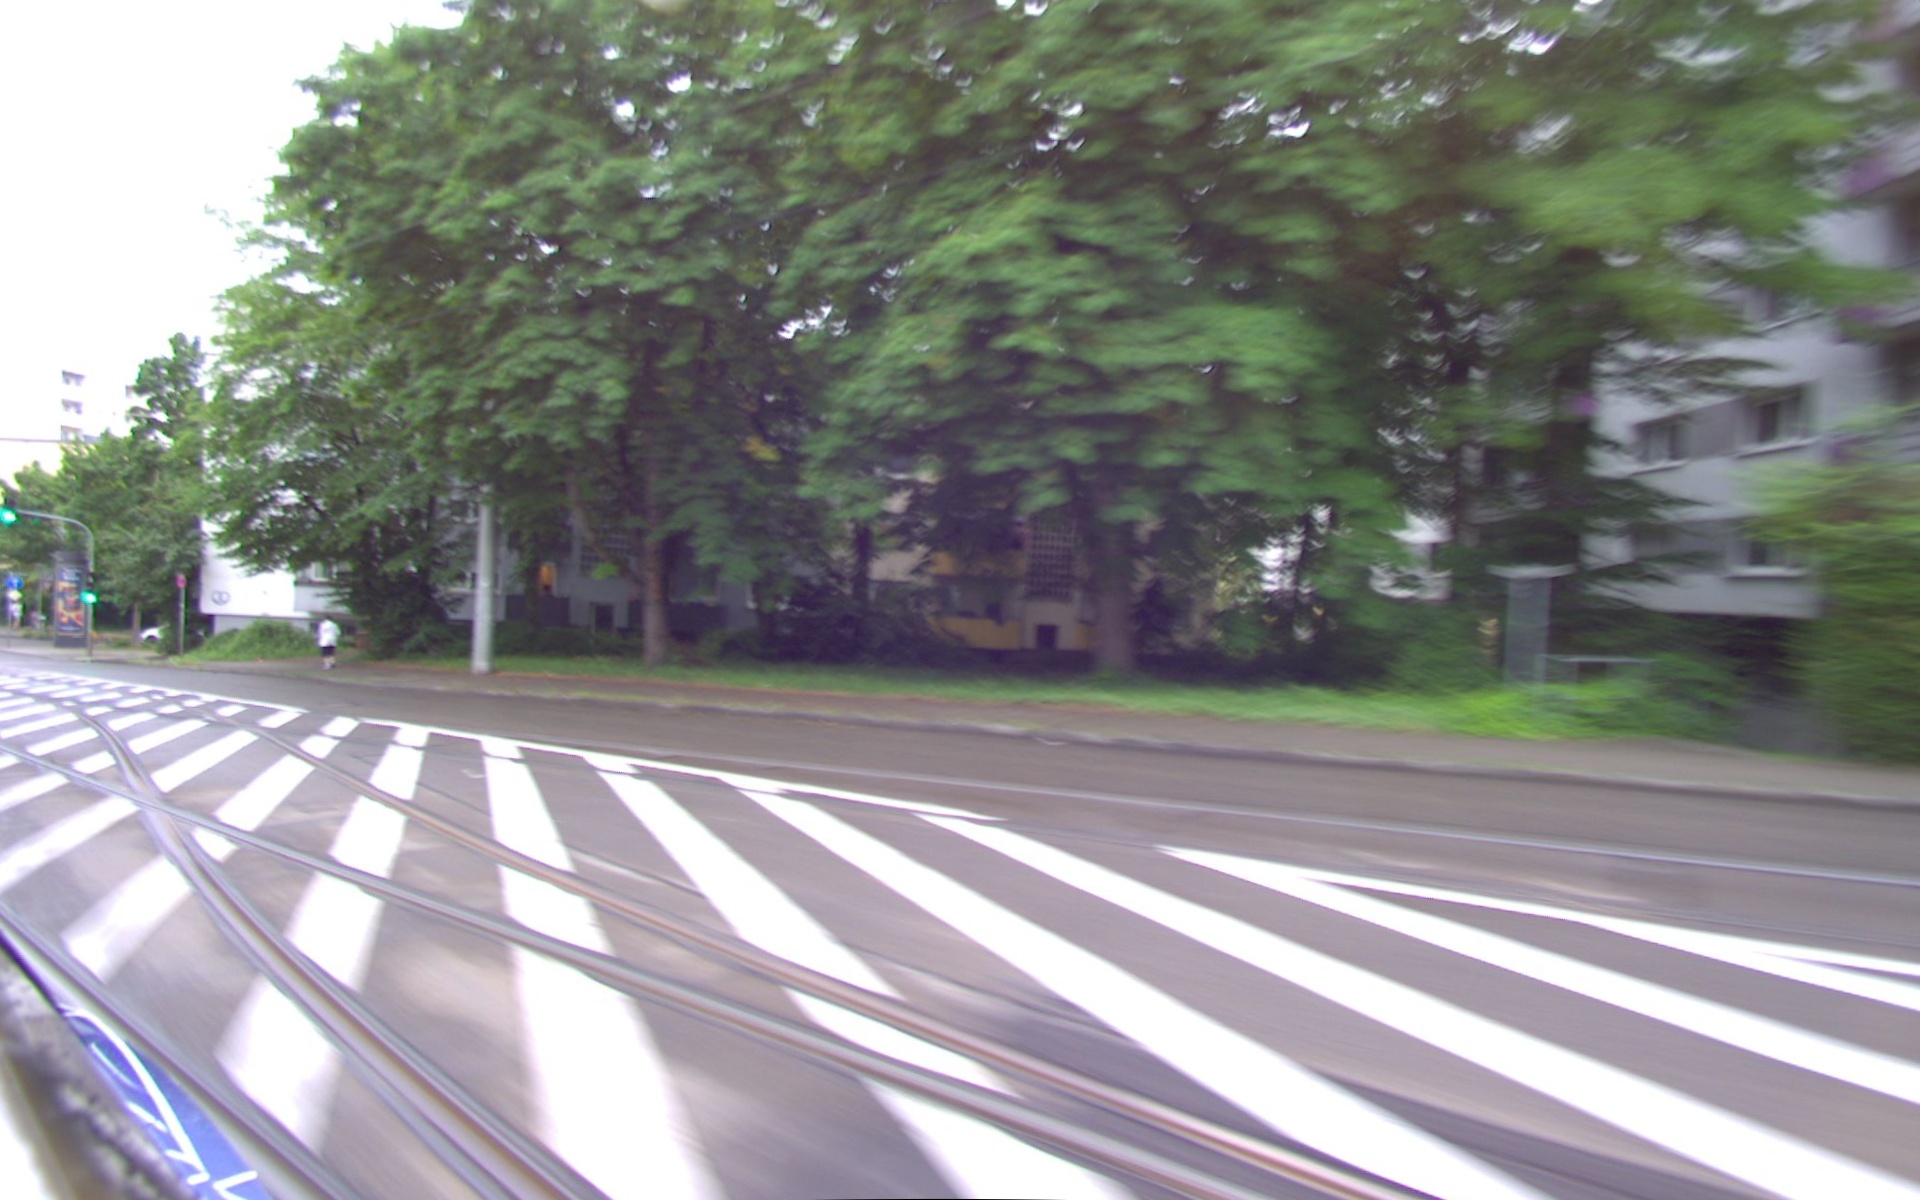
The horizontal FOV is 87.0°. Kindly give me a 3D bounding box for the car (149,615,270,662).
[{"bbox_3d":[-31.877,1.604,43.042,3.939,1.763,2.003,-2,1,-42],"label":"car"}]

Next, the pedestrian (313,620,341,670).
[{"bbox_3d":[-18.805,1.327,30.059,0.528,1.437,0.523,-1,0,39],"label":"pedestrian"}]

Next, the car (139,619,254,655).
[{"bbox_3d":[-33.943,1.628,45.057,3.939,1.397,1.786,-2,1,-42],"label":"car"}]
